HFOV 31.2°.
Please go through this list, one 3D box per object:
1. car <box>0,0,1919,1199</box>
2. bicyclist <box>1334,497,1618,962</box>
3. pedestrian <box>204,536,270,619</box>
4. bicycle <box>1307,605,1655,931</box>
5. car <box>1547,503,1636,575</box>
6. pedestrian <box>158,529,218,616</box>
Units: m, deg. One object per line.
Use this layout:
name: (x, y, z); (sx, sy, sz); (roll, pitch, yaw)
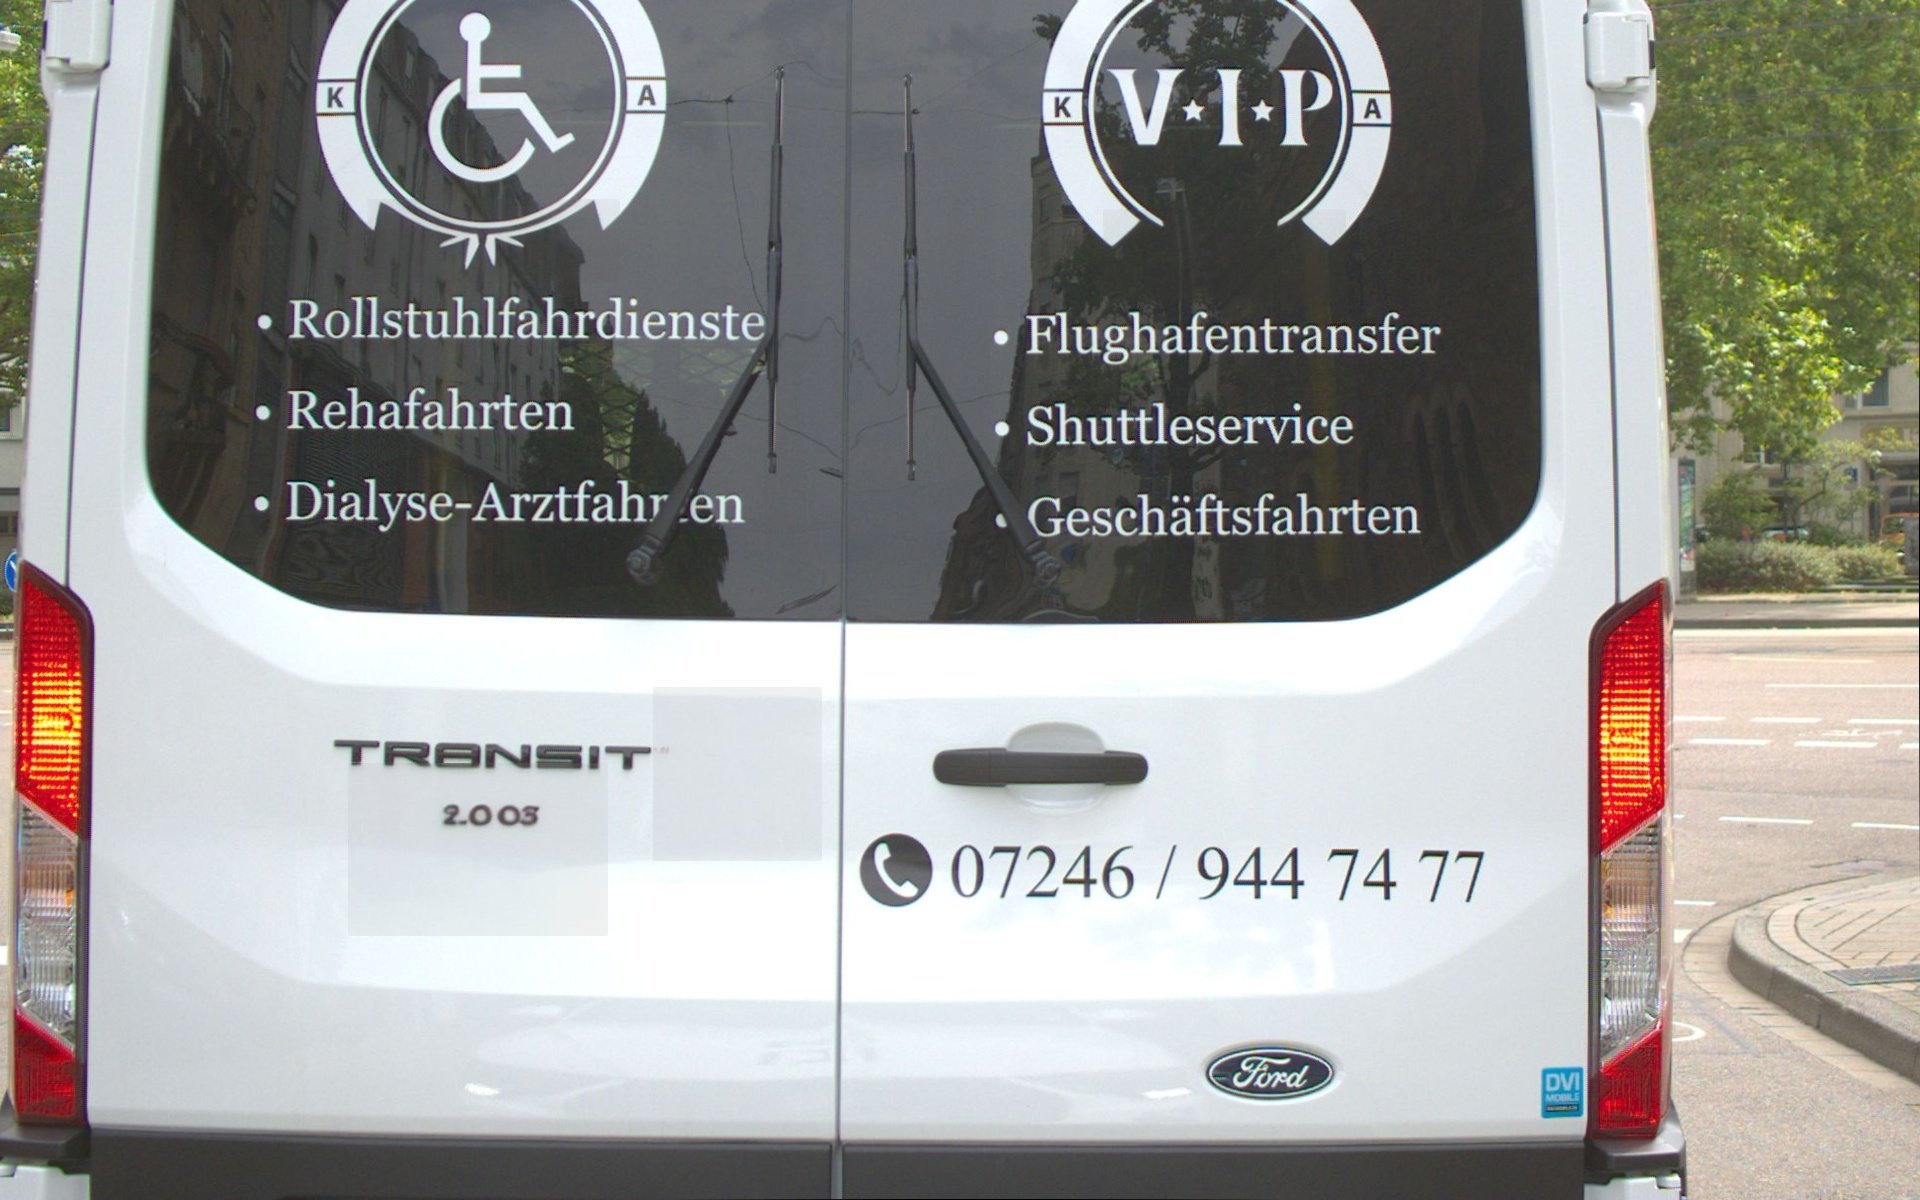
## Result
car: (-0.183, 0.037, 5.780); (2.181, 2.638, 4.629); (1, 2, -2)
bicyclist: (1.917, 0.461, 12.862); (0.903, 1.677, 0.757); (-1, 1, -3)
pedestrian: (-13.278, -0.422, 63.138); (0.930, 1.509, 0.723); (0, 1, 14)
bicycle: (1.907, 0.584, 12.908); (0.902, 1.071, 1.970); (-1, 1, -3)
car: (17.446, -1.698, 95.079); (1.994, 1.924, 4.000); (-1, 1, 4)
pedestrian: (-14.198, -0.510, 63.217); (0.807, 1.567, 0.723); (0, 1, 14)
